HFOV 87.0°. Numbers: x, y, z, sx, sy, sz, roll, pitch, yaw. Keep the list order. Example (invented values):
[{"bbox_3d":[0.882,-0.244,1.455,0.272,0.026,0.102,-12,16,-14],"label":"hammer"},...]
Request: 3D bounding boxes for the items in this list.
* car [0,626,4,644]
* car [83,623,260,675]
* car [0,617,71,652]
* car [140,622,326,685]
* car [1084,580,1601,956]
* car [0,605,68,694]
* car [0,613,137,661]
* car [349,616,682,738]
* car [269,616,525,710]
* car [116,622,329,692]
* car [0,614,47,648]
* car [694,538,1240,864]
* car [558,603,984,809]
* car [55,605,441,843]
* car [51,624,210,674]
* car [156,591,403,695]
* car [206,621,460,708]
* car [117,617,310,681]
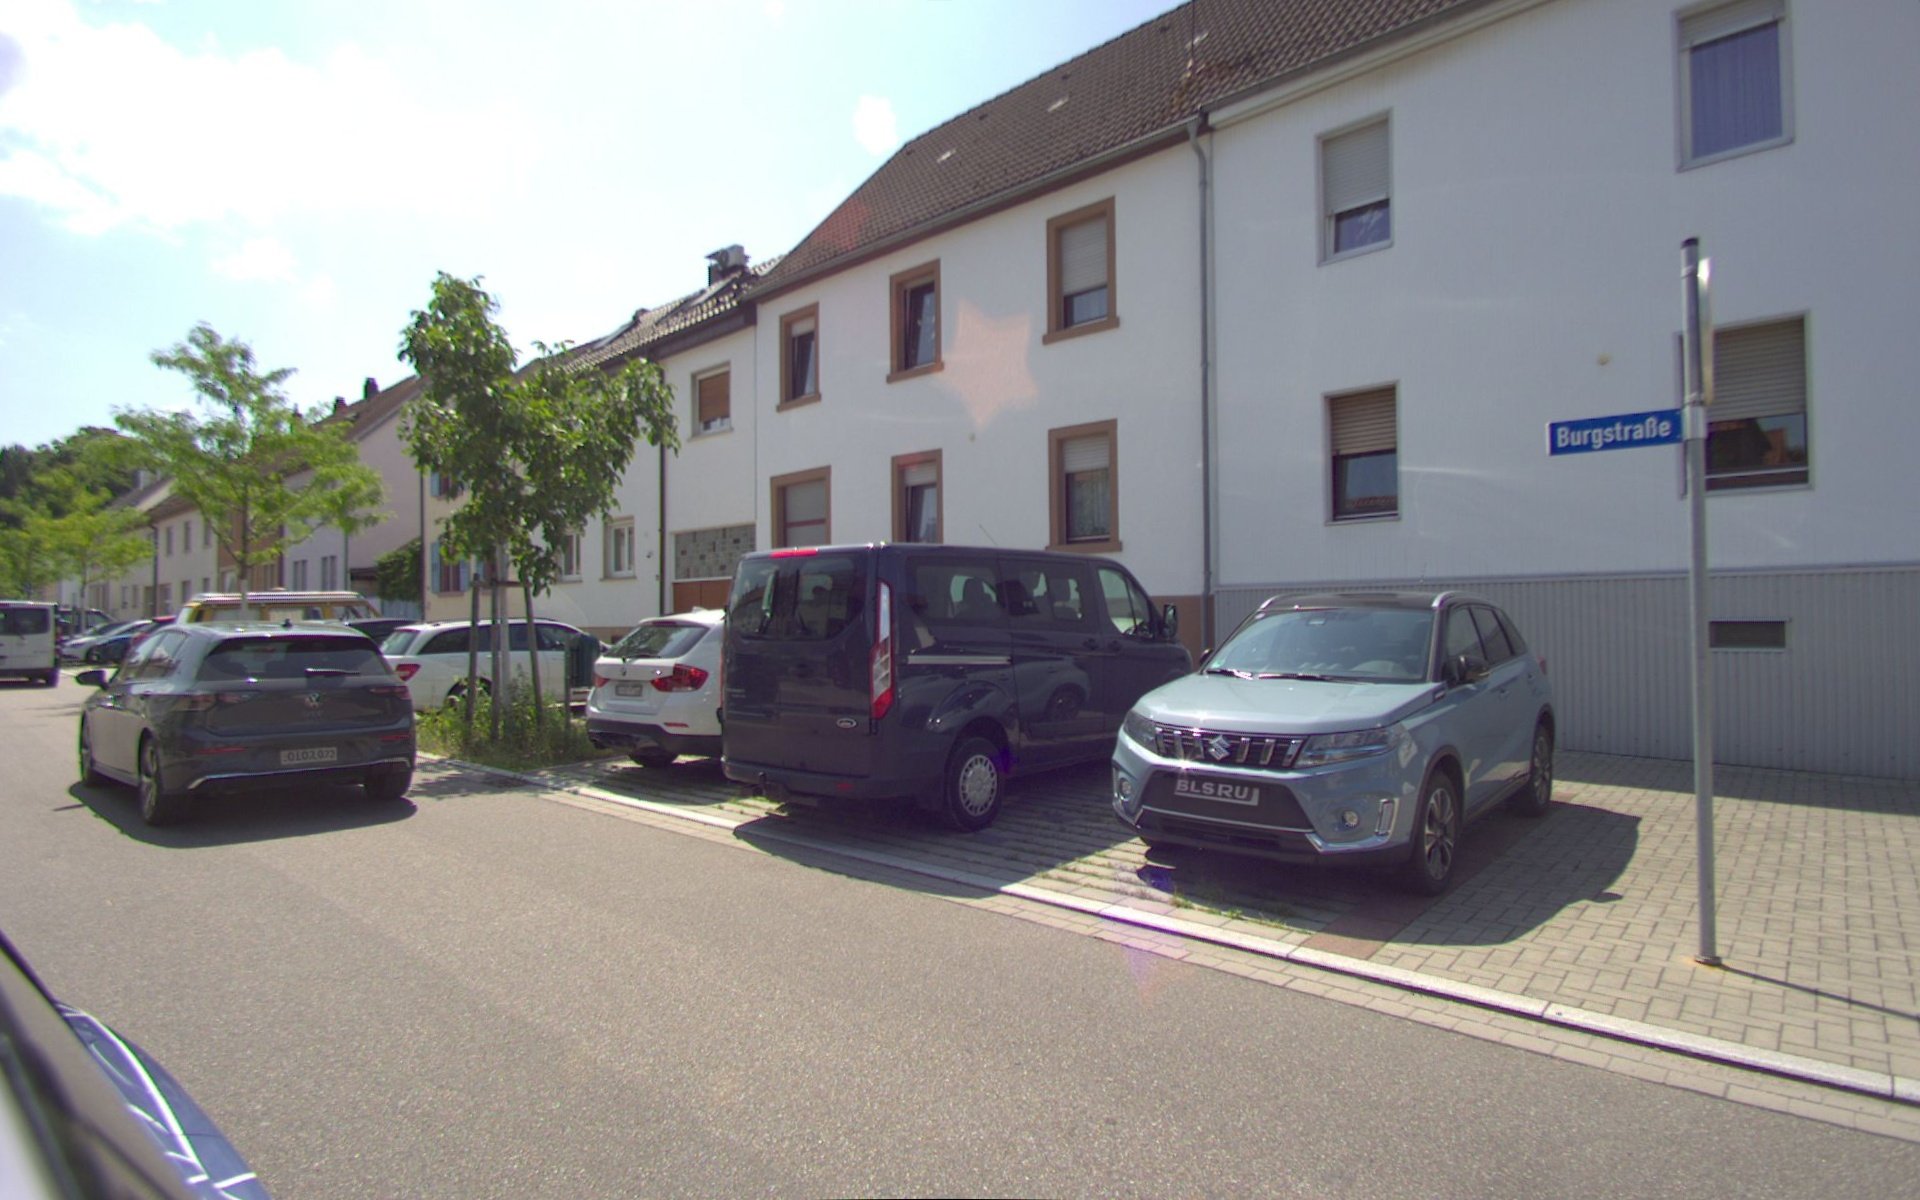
[{"bbox_3d":[-84.501,3.080,86.084,1.901,1.528,4.538,-1,0,42],"label":"car"},{"bbox_3d":[-26.087,1.573,33.607,1.773,1.489,4.361,-1,0,38],"label":"car"},{"bbox_3d":[-56.309,2.071,60.443,2.000,1.921,4.626,-1,1,42],"label":"car"},{"bbox_3d":[-19.508,1.374,27.257,1.754,1.470,3.754,-1,0,39],"label":"car"},{"bbox_3d":[2.734,0.717,6.594,1.772,1.631,4.131,-1,1,42],"label":"car"},{"bbox_3d":[-22.810,1.109,23.903,4.896,1.965,2.001,-1,-1,41],"label":"car"},{"bbox_3d":[-40.627,1.640,46.198,1.953,2.011,4.562,-1,0,44],"label":"car"},{"bbox_3d":[-6.531,1.032,15.212,1.774,1.479,4.247,-1,0,44],"label":"car"},{"bbox_3d":[-10.325,1.069,18.828,1.654,1.479,3.847,-1,0,34],"label":"car"},{"bbox_3d":[-18.021,1.336,24.855,1.755,1.470,3.967,-1,0,42],"label":"car"},{"bbox_3d":[-68.220,2.255,71.628,2.155,2.305,5.114,-1,0,40],"label":"car"},{"bbox_3d":[0.355,0.562,8.404,1.937,1.937,4.650,-1,1,42],"label":"car"},{"bbox_3d":[-1.706,0.869,10.349,1.772,1.580,4.143,-1,1,38],"label":"car"},{"bbox_3d":[-6.153,0.869,8.567,4.047,1.534,1.744,-1,-3,41],"label":"car"},{"bbox_3d":[-28.677,1.652,35.094,1.774,1.489,4.013,-1,0,39],"label":"car"},{"bbox_3d":[-15.856,0.909,23.762,1.925,2.194,4.460,-1,0,42],"label":"car"},{"bbox_3d":[-12.587,1.218,20.559,1.749,1.479,4.038,-1,0,34],"label":"car"},{"bbox_3d":[-21.550,1.349,29.332,1.842,1.623,4.209,-1,0,41],"label":"car"}]
